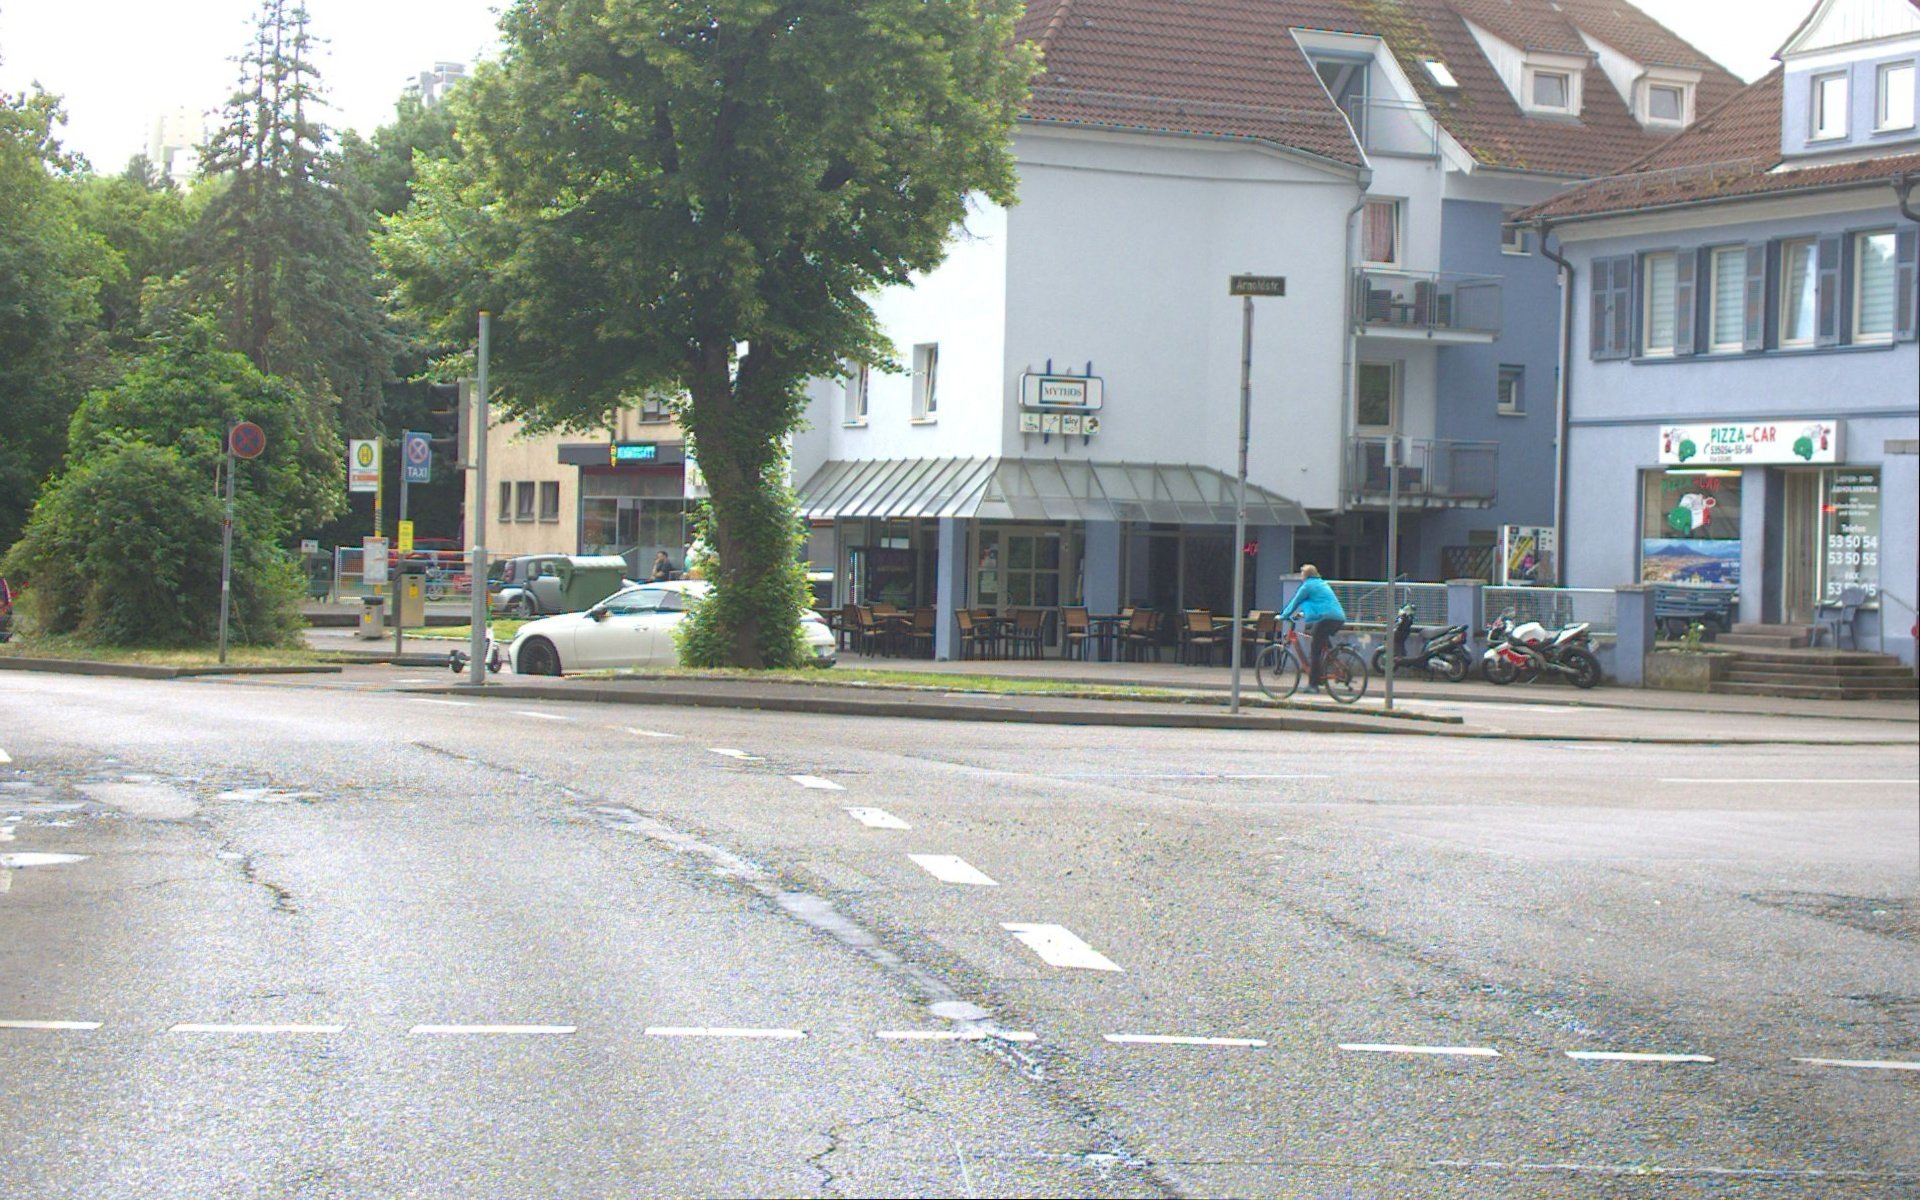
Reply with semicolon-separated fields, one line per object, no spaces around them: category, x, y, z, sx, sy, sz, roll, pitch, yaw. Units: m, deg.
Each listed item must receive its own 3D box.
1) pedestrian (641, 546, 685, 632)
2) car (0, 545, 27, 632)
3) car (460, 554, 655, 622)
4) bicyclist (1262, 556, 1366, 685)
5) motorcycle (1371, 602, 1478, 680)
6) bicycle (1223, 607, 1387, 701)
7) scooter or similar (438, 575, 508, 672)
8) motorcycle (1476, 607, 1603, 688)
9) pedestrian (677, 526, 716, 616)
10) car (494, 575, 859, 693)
pedestrian;-6.987;-0.258;80.836;0.837;2.007;1.056;1;1;-14
car;-16.420;-0.217;53.516;3.322;1.347;1.778;1;1;27
car;-8.857;-0.269;75.625;3.936;1.437;1.753;1;1;-20
bicyclist;4.599;0.260;44.645;0.987;1.646;0.916;1;1;38
motorcycle;6.774;0.592;50.129;1.458;1.085;0.523;1;1;35
bicycle;4.483;0.689;44.729;1.951;1.145;0.874;2;1;39
scooter or similar;-6.029;0.283;42.612;0.442;1.171;1.437;1;1;9
motorcycle;8.150;0.663;48.360;1.628;1.085;0.626;1;1;32
pedestrian;-4.540;-0.500;59.244;0.543;1.554;0.467;0;0;13
car;-3.804;0.421;45.756;4.709;1.405;1.898;2;1;35
